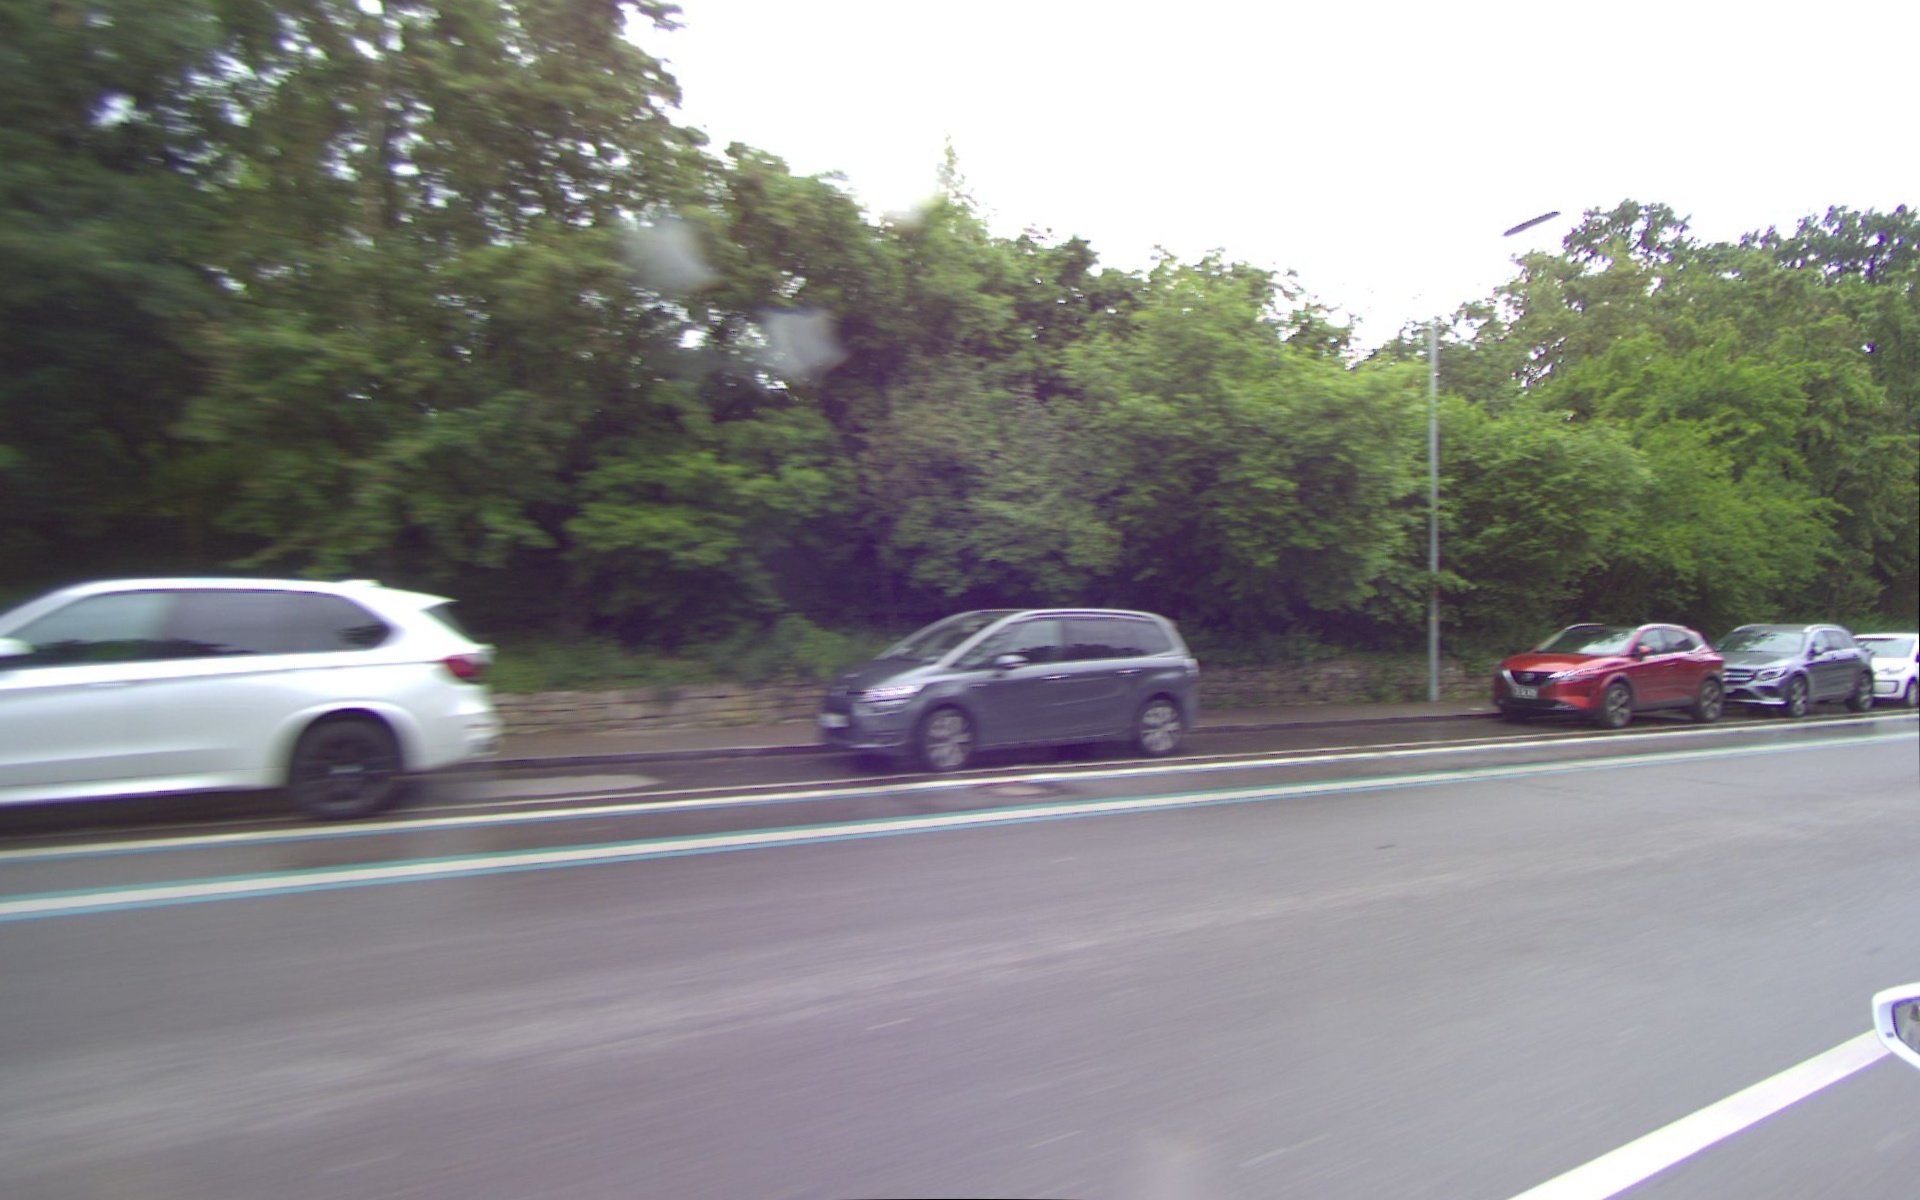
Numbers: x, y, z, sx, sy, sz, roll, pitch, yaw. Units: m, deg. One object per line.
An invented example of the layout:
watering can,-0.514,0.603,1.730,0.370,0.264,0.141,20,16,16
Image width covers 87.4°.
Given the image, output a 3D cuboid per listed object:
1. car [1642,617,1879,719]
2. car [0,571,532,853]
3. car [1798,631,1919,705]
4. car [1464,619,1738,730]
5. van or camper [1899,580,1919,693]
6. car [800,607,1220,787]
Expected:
car,15.203,1.195,19.038,4.560,1.723,1.985,1,-1,-30
car,-5.974,0.731,7.574,4.899,1.789,1.985,1,-1,-29
car,19.807,1.396,21.485,3.610,1.468,1.612,1,-2,-28
car,10.737,1.162,16.783,4.432,1.638,1.912,1,-2,-28
van or camper,25.548,0.874,24.463,5.609,2.662,2.136,1,-1,-27
car,0.650,0.936,11.237,4.519,1.671,1.722,1,0,-31
